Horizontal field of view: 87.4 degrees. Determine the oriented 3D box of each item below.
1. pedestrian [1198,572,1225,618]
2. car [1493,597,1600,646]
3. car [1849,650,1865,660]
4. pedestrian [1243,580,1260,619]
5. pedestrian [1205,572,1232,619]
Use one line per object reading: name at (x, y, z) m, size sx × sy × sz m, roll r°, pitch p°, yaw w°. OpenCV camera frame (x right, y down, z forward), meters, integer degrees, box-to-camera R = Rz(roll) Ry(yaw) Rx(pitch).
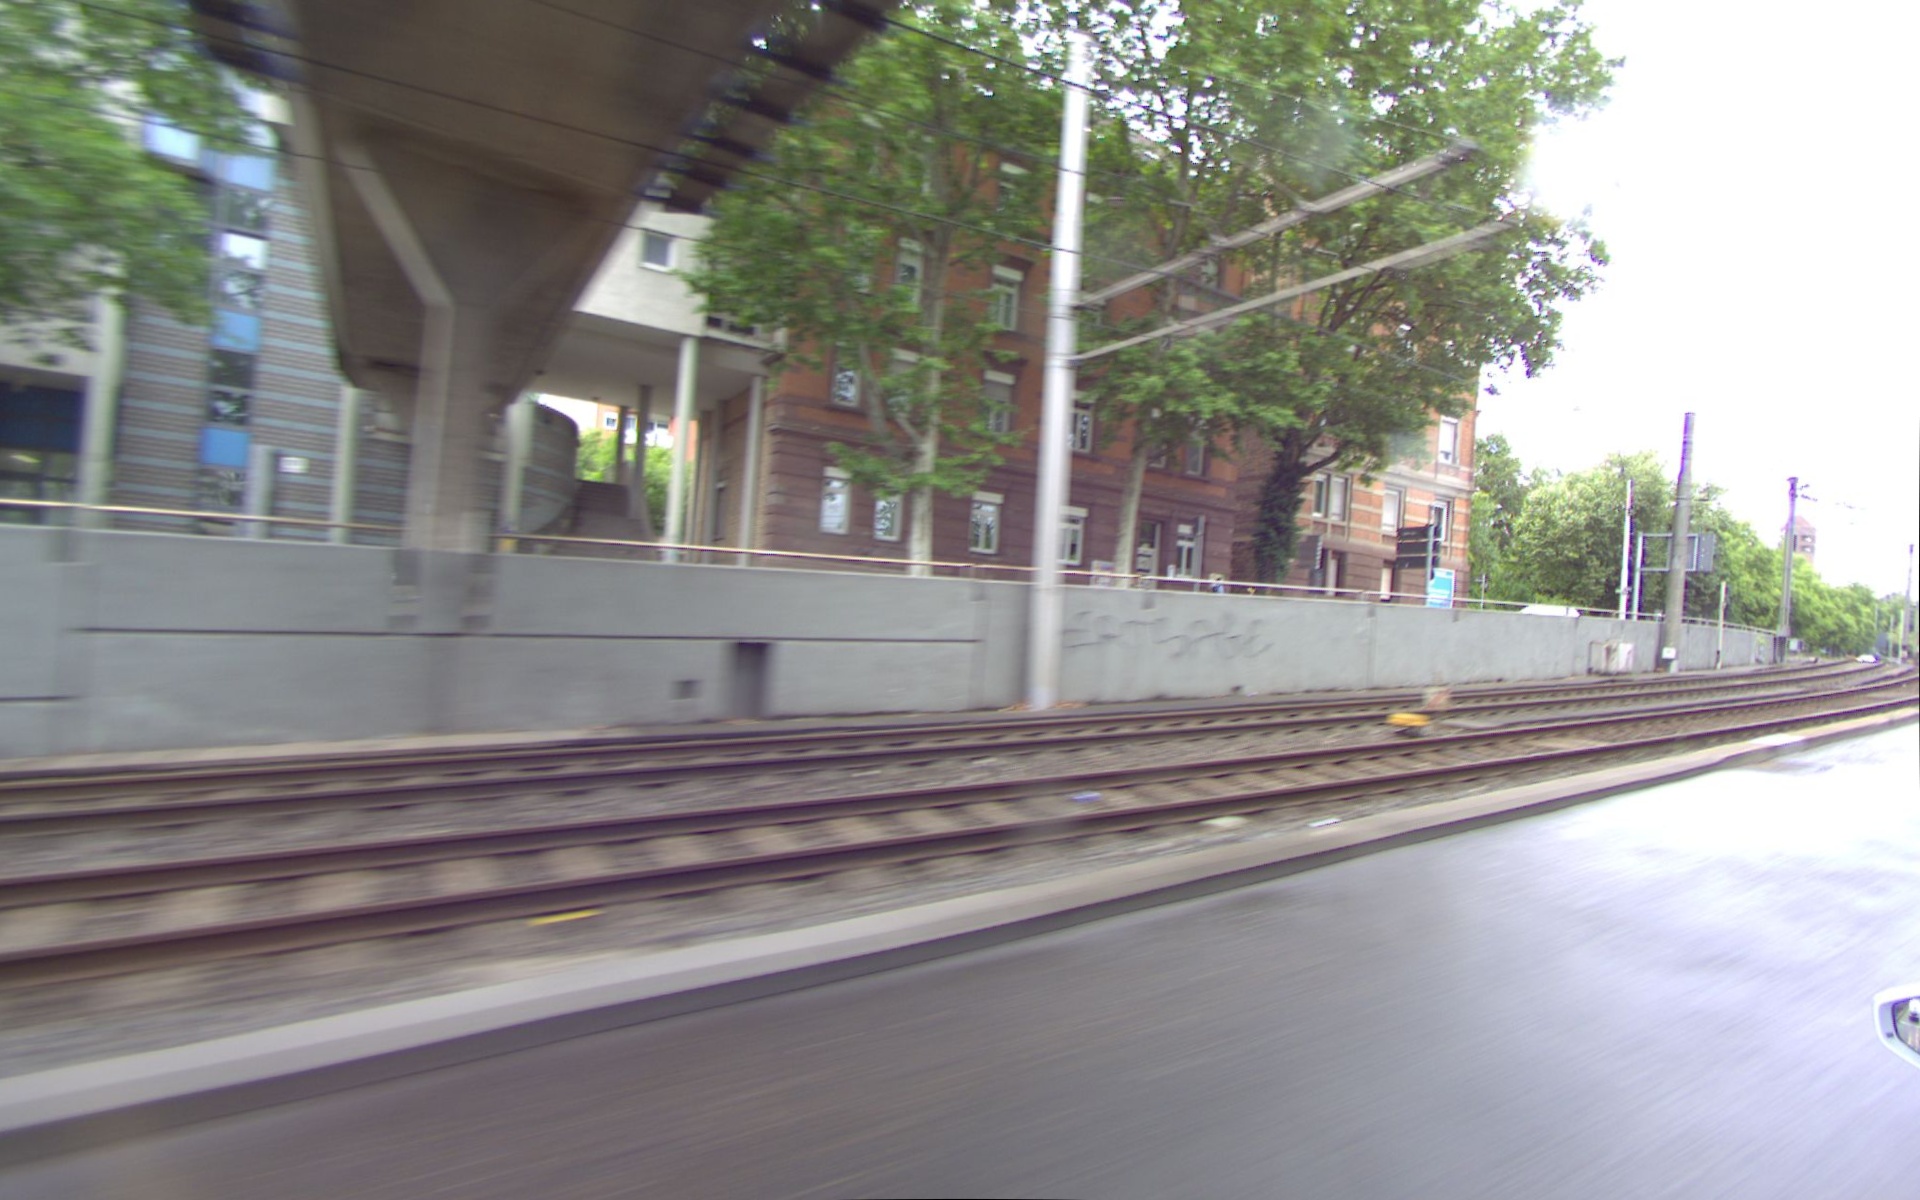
pedestrian at (9.128, -0.163, 36.438) m, size 0.712 × 1.646 × 0.591 m, roll 1°, pitch -1°, yaw -24°
car at (22.205, 0.828, 37.978) m, size 4.316 × 1.633 × 1.782 m, roll 3°, pitch 2°, yaw -35°
car at (152.297, 9.364, 170.487) m, size 3.823 × 1.530 × 1.776 m, roll 3°, pitch 0°, yaw -44°
pedestrian at (10.273, -0.003, 35.385) m, size 0.500 × 1.351 × 0.331 m, roll 1°, pitch -1°, yaw -38°
pedestrian at (9.145, -0.149, 35.599) m, size 0.712 × 1.646 × 0.591 m, roll 1°, pitch -1°, yaw -24°
